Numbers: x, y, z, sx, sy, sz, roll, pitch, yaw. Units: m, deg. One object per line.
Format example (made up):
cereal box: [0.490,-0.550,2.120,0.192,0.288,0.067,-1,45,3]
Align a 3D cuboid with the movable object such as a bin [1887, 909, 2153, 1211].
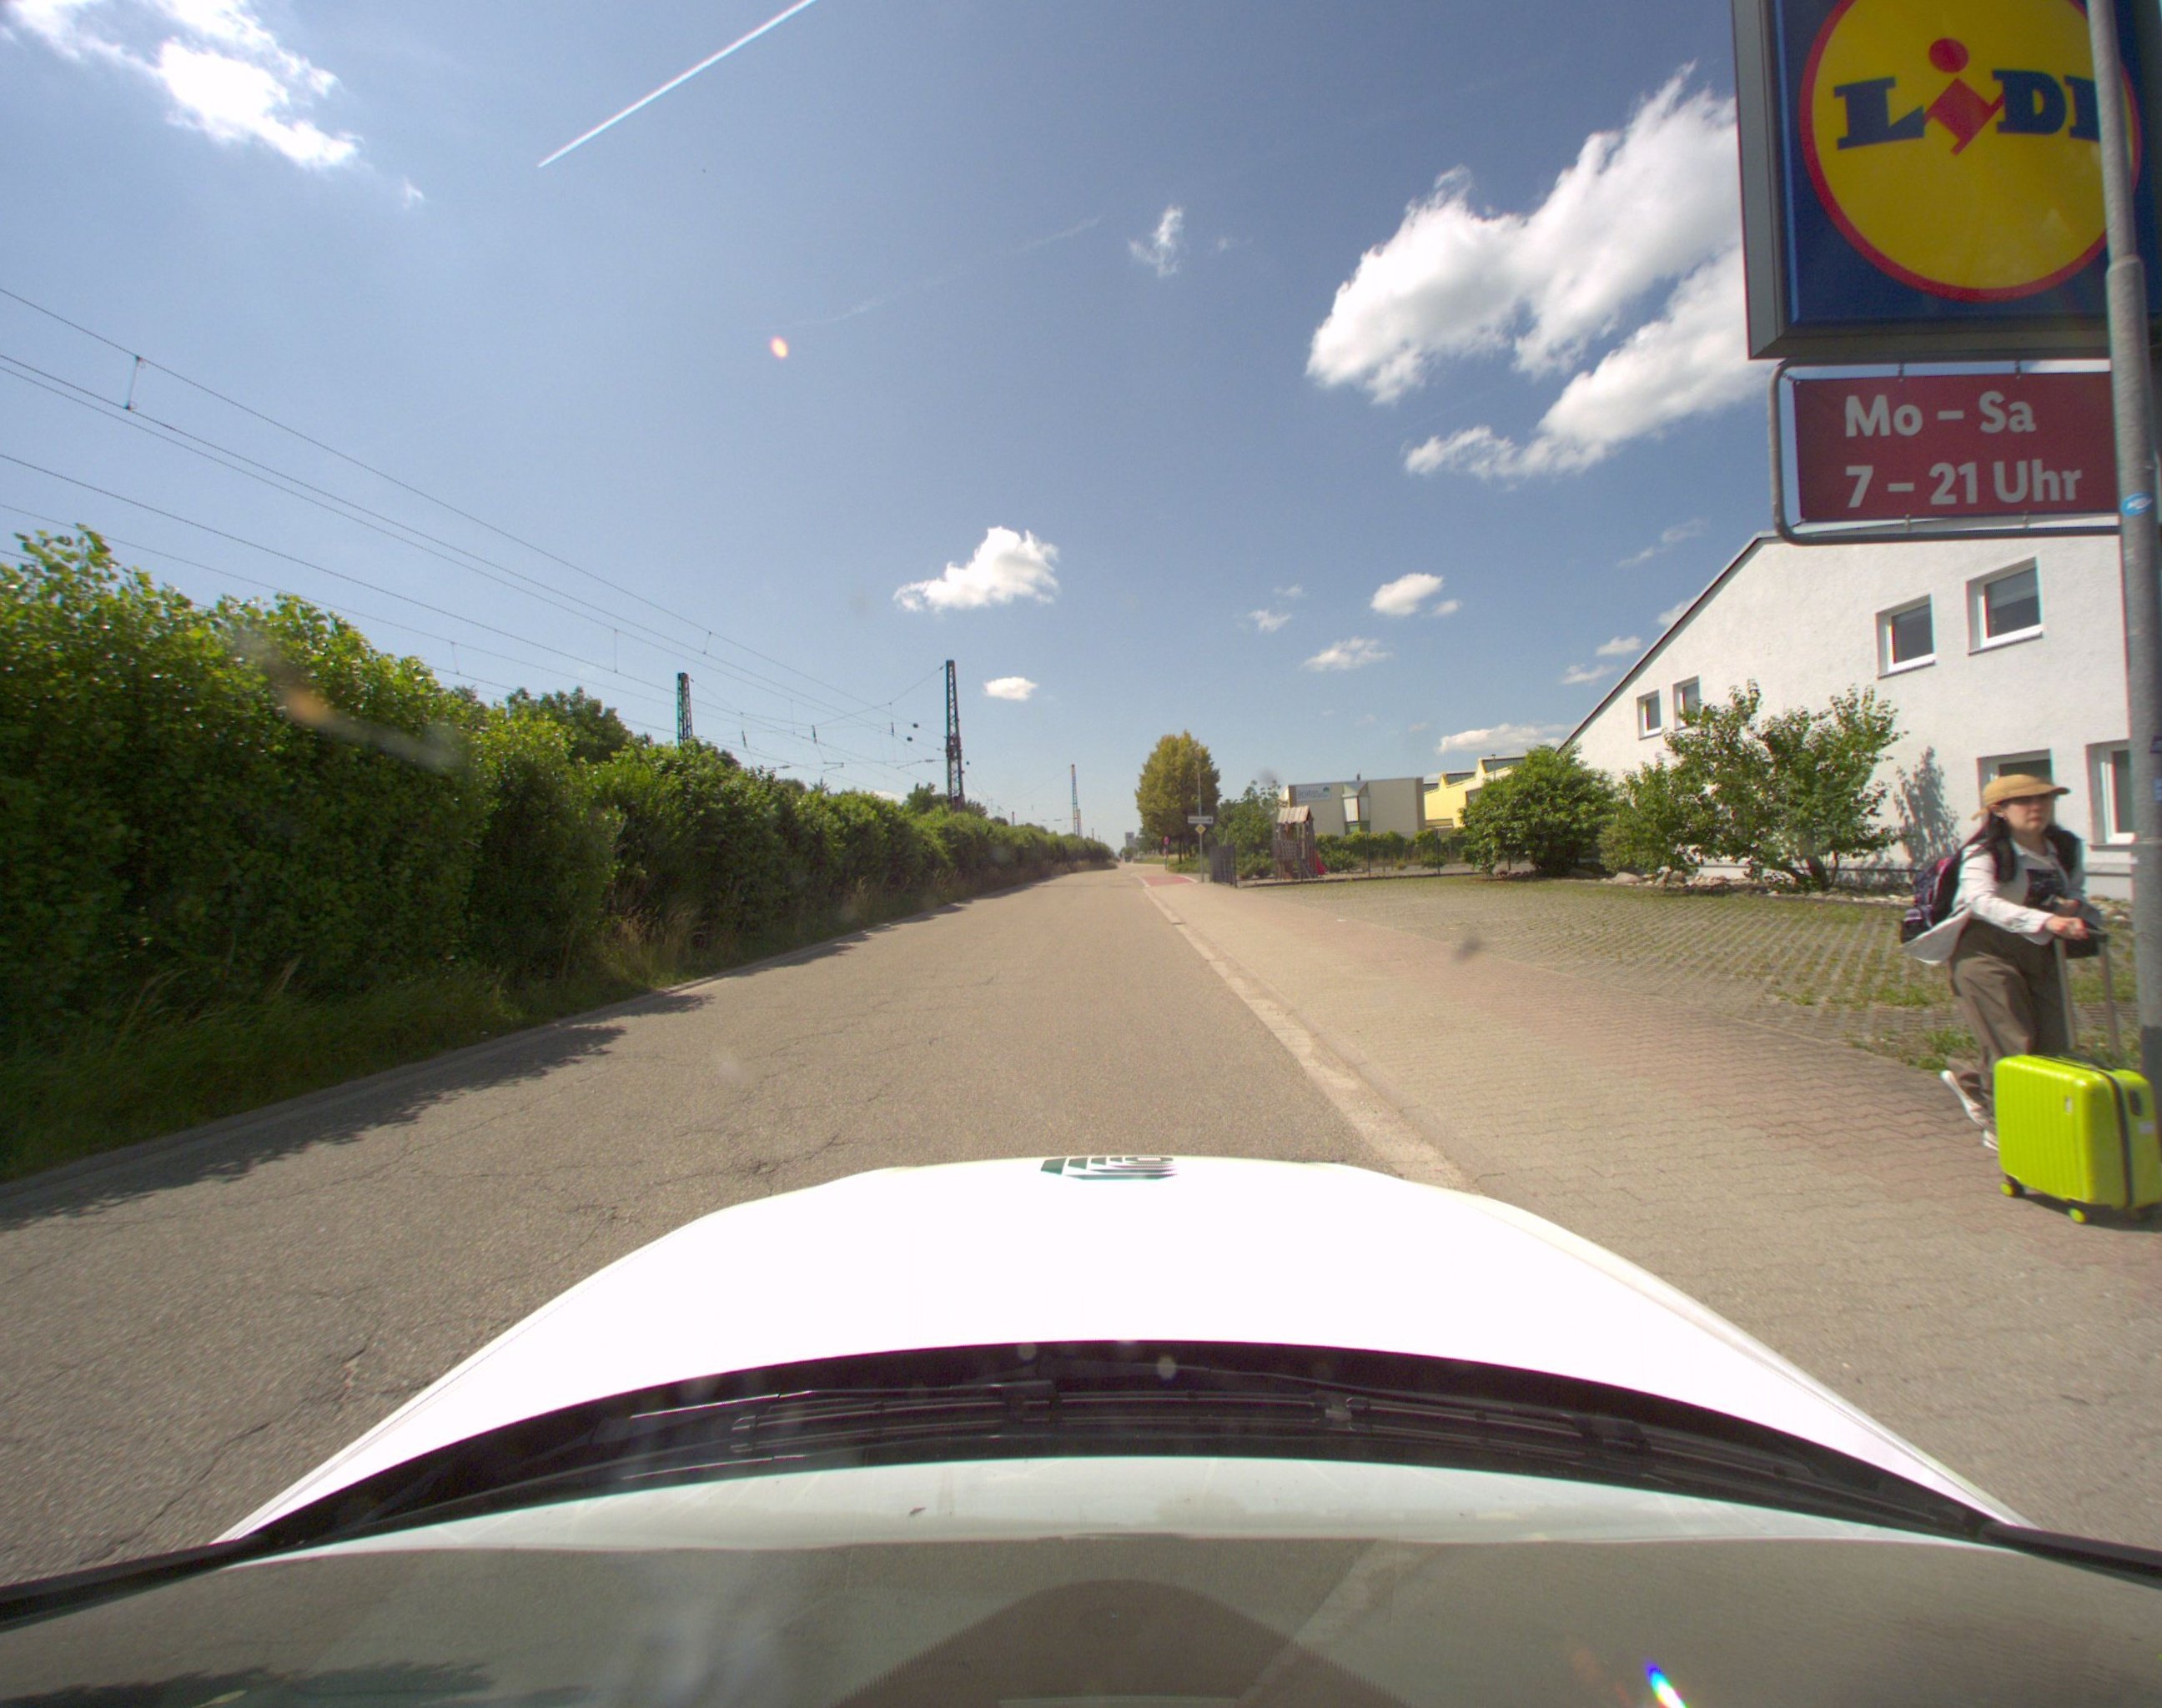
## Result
movable object such as a bin: [3.604,0.751,3.162,0.373,1.030,0.498,-3,-2,-2]

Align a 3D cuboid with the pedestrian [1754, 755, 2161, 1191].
pedestrian: [3.927,0.438,3.646,0.759,1.602,1.210,-2,0,-1]
